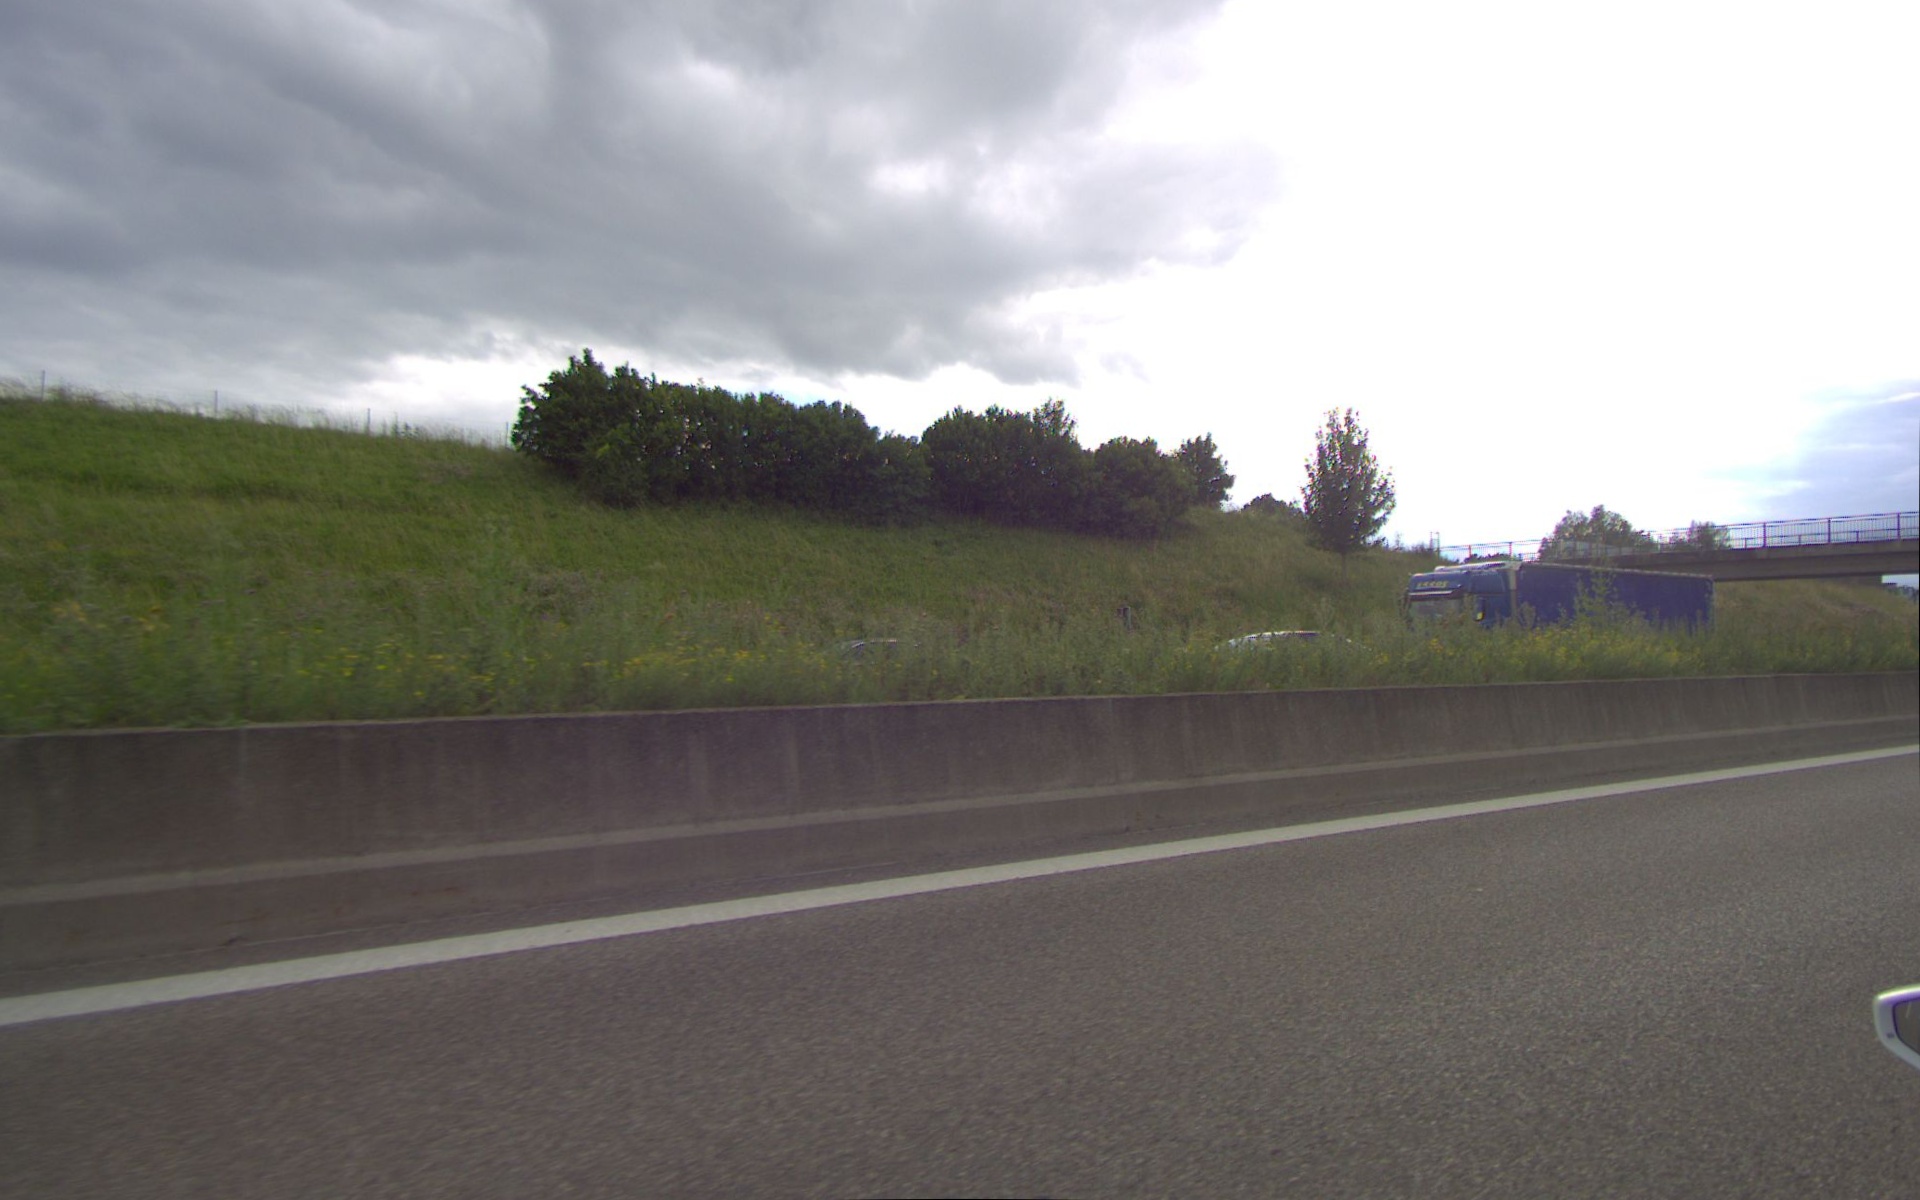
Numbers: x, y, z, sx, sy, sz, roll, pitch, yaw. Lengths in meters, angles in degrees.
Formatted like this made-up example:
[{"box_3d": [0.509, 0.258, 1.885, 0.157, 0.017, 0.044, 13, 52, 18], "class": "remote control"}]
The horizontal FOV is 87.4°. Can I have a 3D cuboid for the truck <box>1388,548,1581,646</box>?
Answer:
[{"box_3d": [17.520, -0.046, 33.501, 6.043, 2.985, 2.896, 2, 0, -30], "class": "truck"}]

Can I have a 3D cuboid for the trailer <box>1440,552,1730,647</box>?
[{"box_3d": [23.267, 0.126, 36.872, 13.807, 2.995, 2.907, 2, 0, -30], "class": "trailer"}]
